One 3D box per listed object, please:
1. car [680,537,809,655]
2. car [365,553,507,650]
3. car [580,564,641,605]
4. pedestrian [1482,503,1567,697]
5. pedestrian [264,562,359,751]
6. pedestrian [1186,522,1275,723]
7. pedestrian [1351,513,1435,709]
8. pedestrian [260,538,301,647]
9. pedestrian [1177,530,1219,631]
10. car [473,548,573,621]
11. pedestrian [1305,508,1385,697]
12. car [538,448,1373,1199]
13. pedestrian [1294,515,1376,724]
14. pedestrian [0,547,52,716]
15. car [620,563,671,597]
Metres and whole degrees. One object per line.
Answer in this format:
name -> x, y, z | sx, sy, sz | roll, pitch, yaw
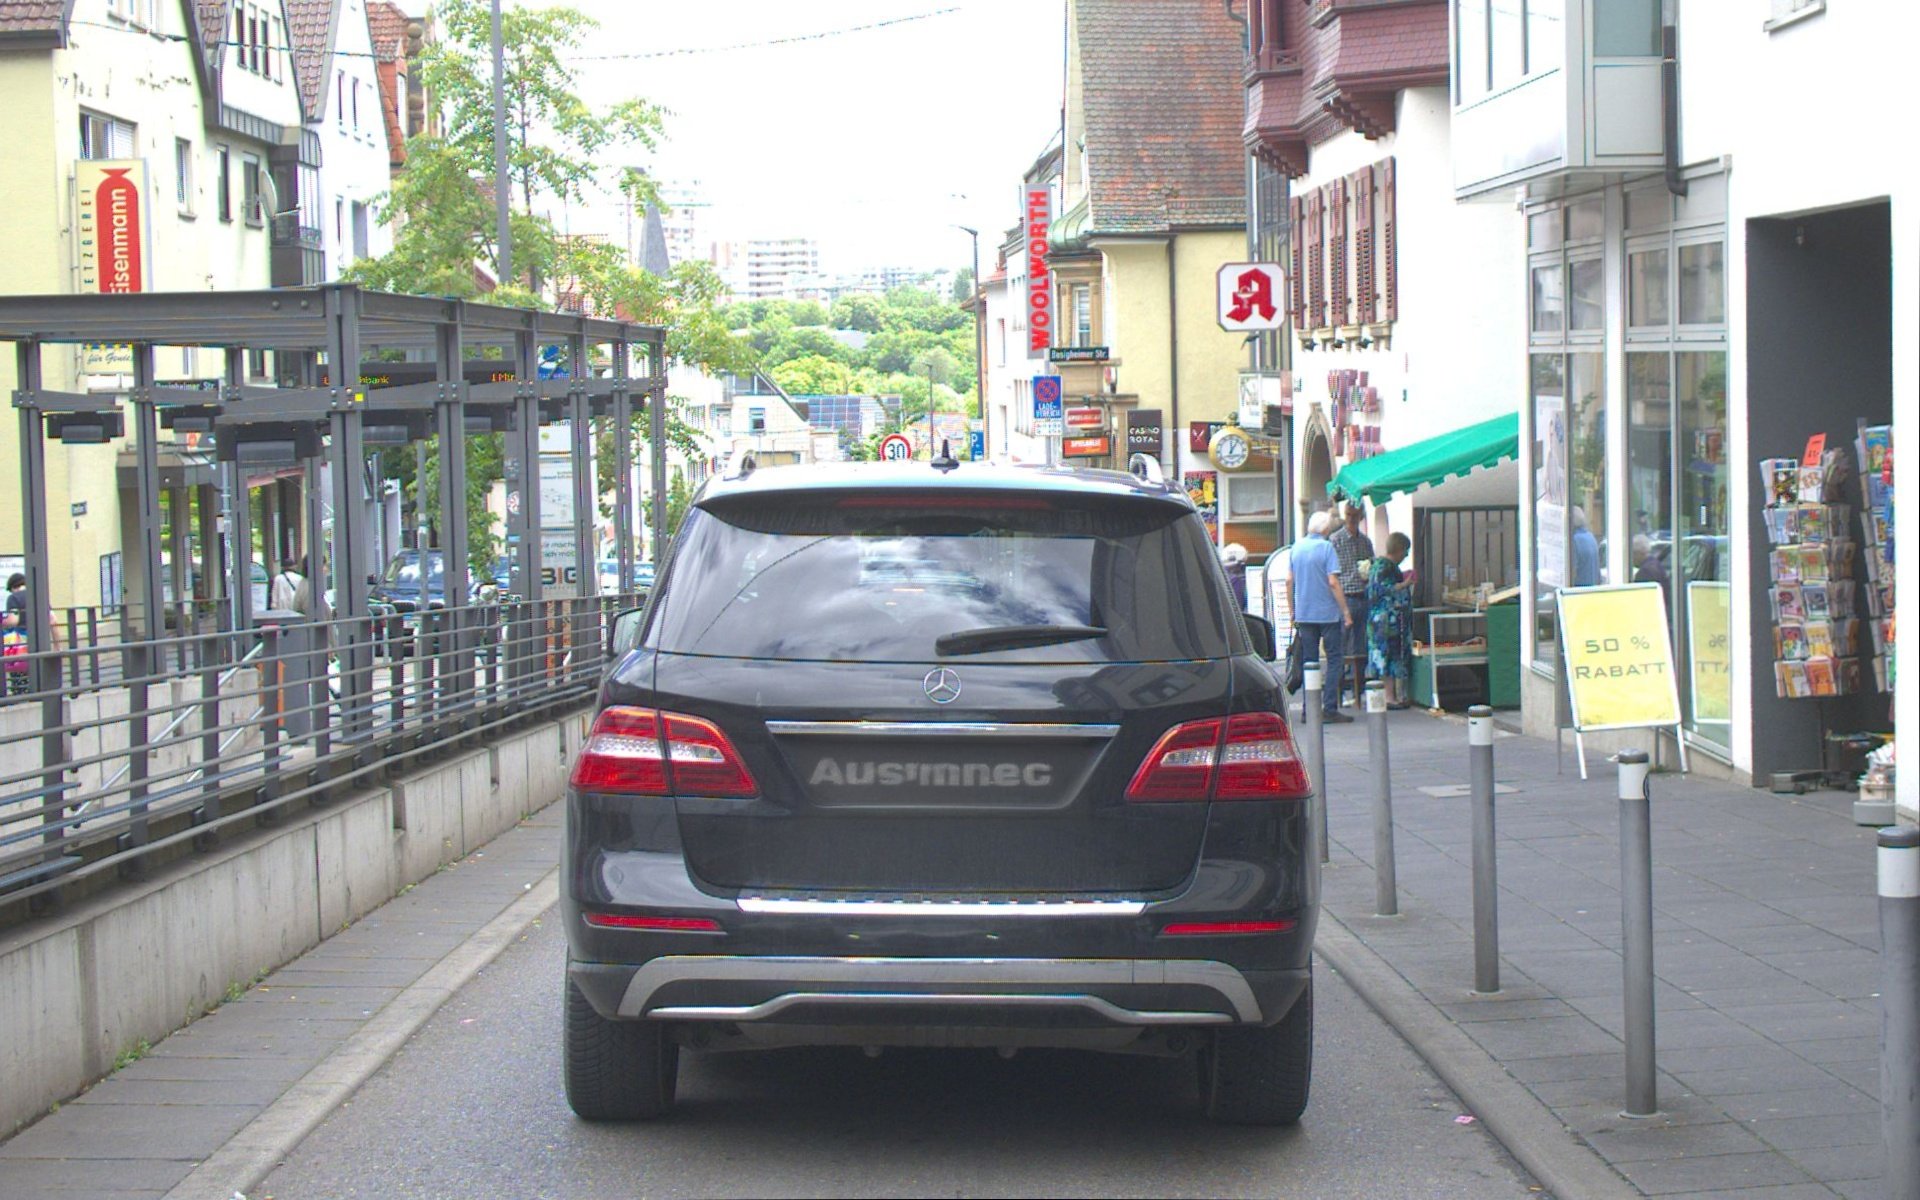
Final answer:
car -> -3.254, -0.087, 52.522 | 1.770, 1.707, 4.000 | 1, 1, -1
car -> -8.397, -0.005, 55.381 | 1.689, 1.485, 3.979 | 1, 1, 0
car -> -9.668, -0.430, 95.252 | 1.388, 1.066, 3.113 | -1, 1, 0
pedestrian -> 4.975, -0.002, 30.329 | 0.573, 1.683, 0.566 | -1, 1, -7
pedestrian -> -5.882, 0.505, 31.178 | 0.765, 1.683, 0.728 | 1, 1, -16
pedestrian -> 2.297, 0.187, 29.237 | 0.621, 1.683, 0.566 | 1, 1, -7
pedestrian -> 3.791, 0.089, 30.129 | 0.573, 1.683, 0.566 | -1, 1, -7
pedestrian -> -10.531, -0.121, 53.285 | 0.513, 1.683, 0.541 | 1, 1, -1
pedestrian -> 4.037, -0.338, 58.380 | 0.606, 1.683, 0.724 | -1, 1, -1
car -> -9.202, -0.348, 72.602 | 1.660, 1.485, 3.748 | 1, 1, 0
pedestrian -> 3.475, 0.017, 31.073 | 0.573, 1.683, 0.566 | 1, 1, -7
car -> -0.093, 0.506, 9.925 | 1.900, 1.741, 4.001 | 1, 1, -2
pedestrian -> 3.126, 0.156, 28.705 | 0.542, 1.720, 0.528 | -1, 1, -7
pedestrian -> -9.622, 0.310, 34.872 | 0.625, 1.683, 0.679 | 1, 1, -1
car -> -10.262, -0.663, 112.445 | 1.388, 1.066, 3.113 | -1, 1, 0
